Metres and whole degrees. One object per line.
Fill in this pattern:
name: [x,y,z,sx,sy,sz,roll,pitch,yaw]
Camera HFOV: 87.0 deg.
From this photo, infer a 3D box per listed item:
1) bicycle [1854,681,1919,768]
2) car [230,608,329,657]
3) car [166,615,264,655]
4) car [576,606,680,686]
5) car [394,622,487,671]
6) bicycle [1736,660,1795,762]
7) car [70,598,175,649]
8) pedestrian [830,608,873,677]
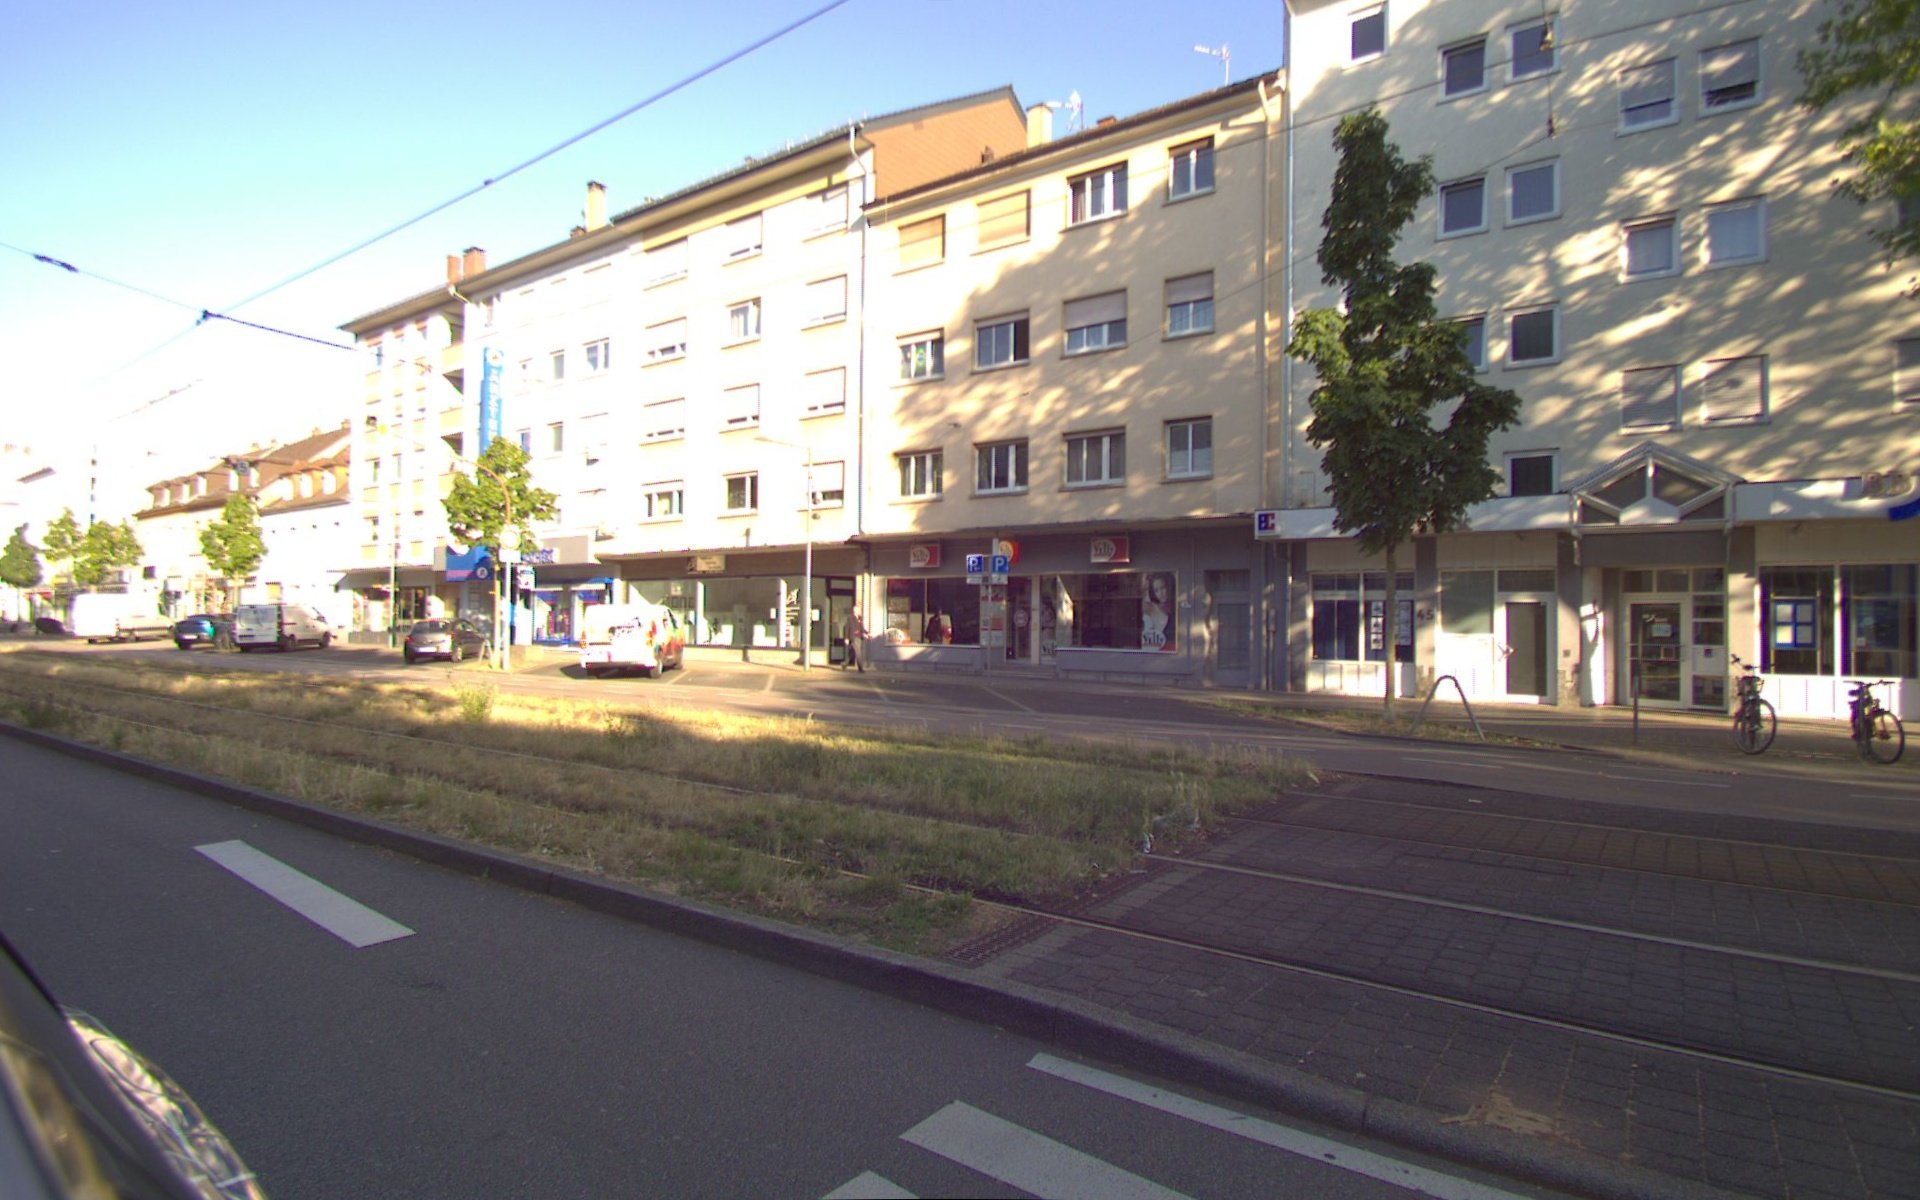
bicycle: [11.339,1.486,12.359,0.471,0.895,1.724,-1,-1,36]
car: [-28.639,1.310,42.758,1.828,1.952,4.514,0,0,-10]
car: [-34.166,1.563,46.527,1.830,1.727,3.919,0,0,-4]
car: [-8.789,1.152,27.107,1.830,1.913,4.005,0,0,-6]
car: [-17.523,1.524,34.327,1.708,1.508,4.009,0,0,-10]
bicycle: [10.305,1.384,12.980,0.511,1.147,1.724,-1,-1,36]
car: [-45.412,1.224,55.100,1.895,2.634,6.608,0,0,-16]
pedestrian: [-2.955,1.130,27.515,0.916,1.841,0.747,-1,-1,41]
